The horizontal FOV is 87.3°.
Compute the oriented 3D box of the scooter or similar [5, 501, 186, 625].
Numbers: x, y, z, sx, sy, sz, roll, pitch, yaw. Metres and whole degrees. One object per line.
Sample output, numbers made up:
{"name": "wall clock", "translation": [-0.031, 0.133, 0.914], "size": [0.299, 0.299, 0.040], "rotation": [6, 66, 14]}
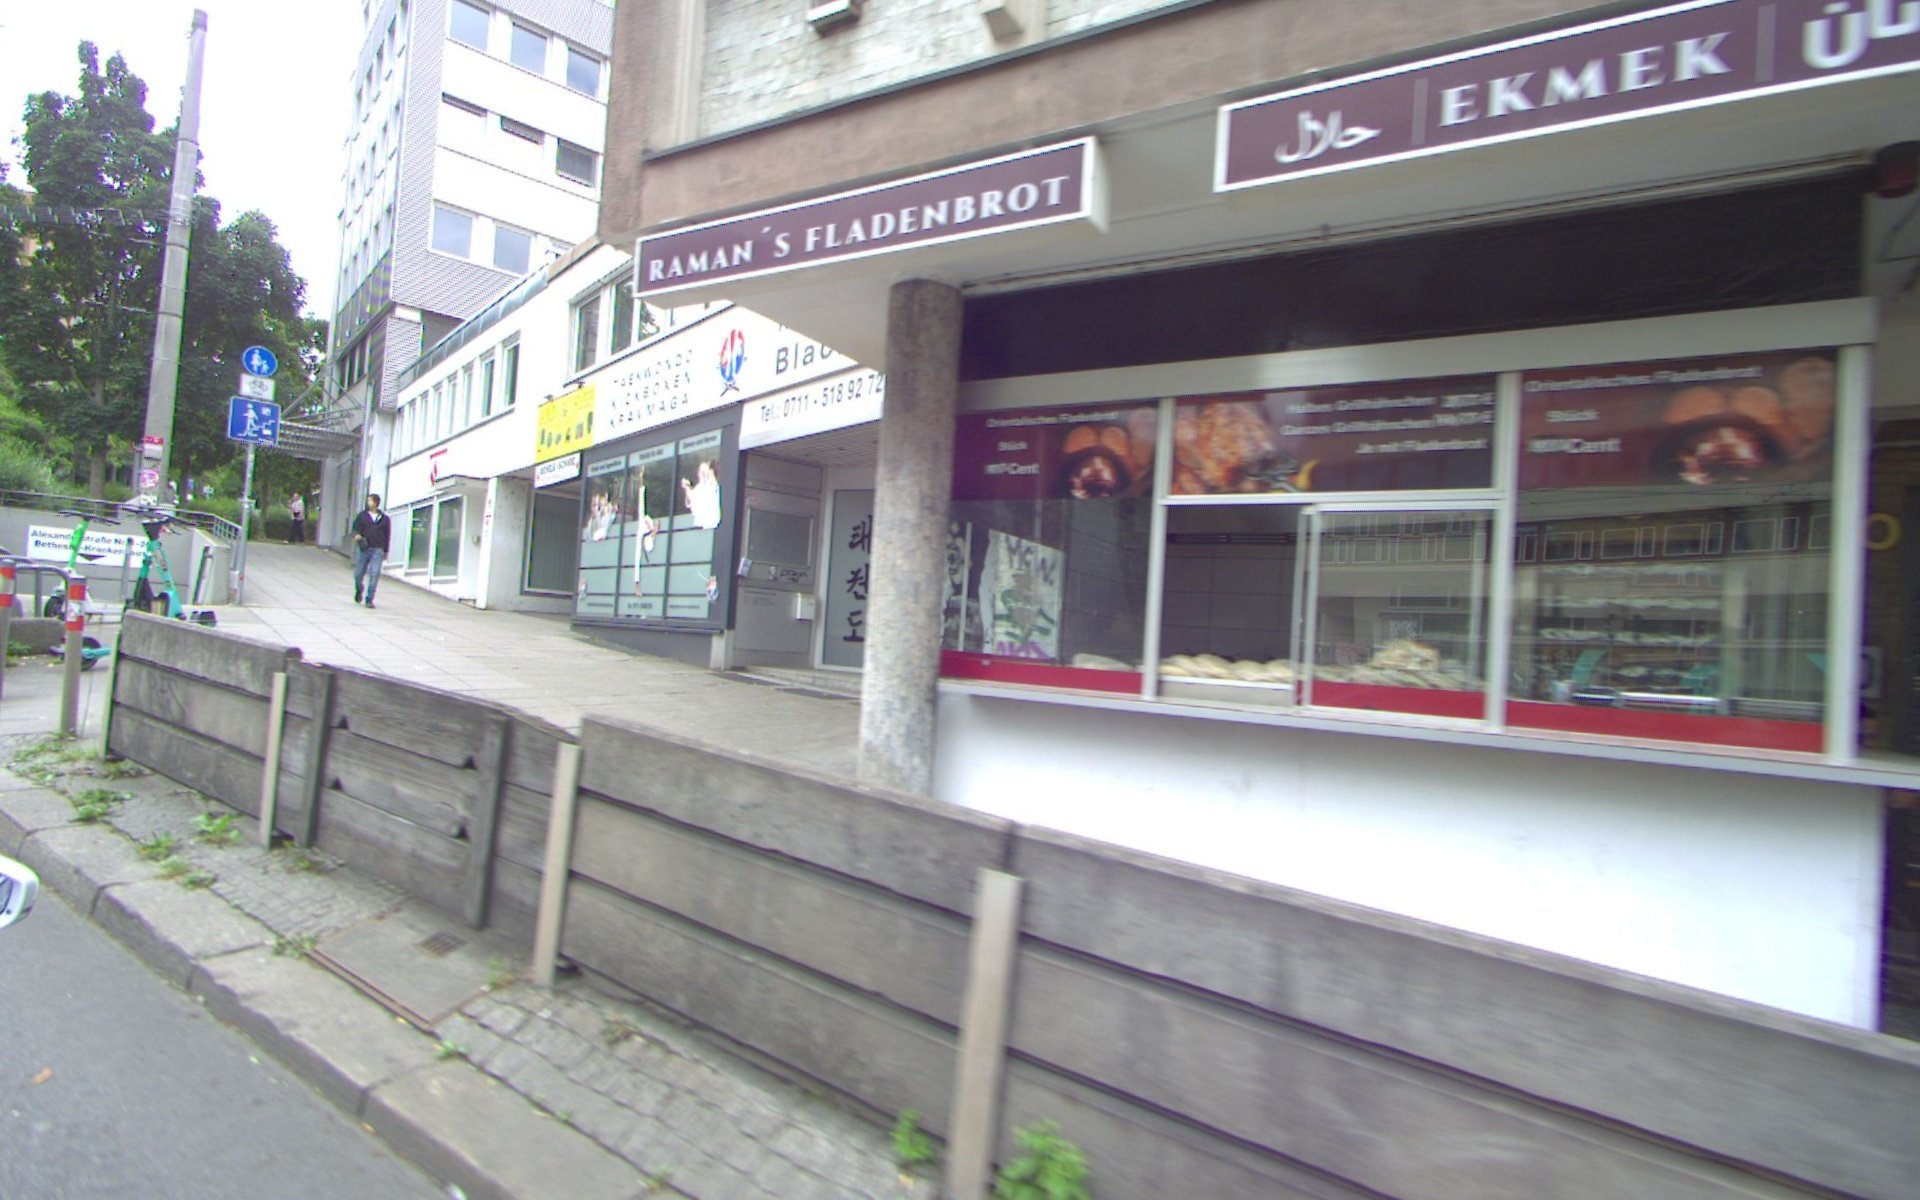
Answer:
{"name": "scooter or similar", "translation": [-9.312, -0.362, 10.911], "size": [0.572, 1.196, 1.446], "rotation": [7, -1, 1]}

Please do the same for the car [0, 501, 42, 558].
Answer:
{"name": "car", "translation": [-29.564, -2.265, 29.988], "size": [1.884, 1.591, 3.817], "rotation": [8, -3, -22]}

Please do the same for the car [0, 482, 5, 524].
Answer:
{"name": "car", "translation": [-32.694, -3.163, 32.238], "size": [1.824, 1.760, 3.973], "rotation": [7, -1, -27]}

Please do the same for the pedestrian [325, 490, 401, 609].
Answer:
{"name": "pedestrian", "translation": [-10.029, -0.840, 16.884], "size": [0.829, 1.832, 1.139], "rotation": [7, 0, -36]}

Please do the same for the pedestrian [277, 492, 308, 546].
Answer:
{"name": "pedestrian", "translation": [-23.760, -2.892, 35.803], "size": [0.670, 1.817, 0.601], "rotation": [7, 1, -41]}

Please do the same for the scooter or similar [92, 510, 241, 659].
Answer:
{"name": "scooter or similar", "translation": [-6.966, -0.119, 8.879], "size": [0.369, 1.196, 1.011], "rotation": [7, 0, 1]}

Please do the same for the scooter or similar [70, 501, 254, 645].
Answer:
{"name": "scooter or similar", "translation": [-7.865, -0.250, 9.996], "size": [0.546, 1.270, 1.445], "rotation": [7, 1, 1]}
